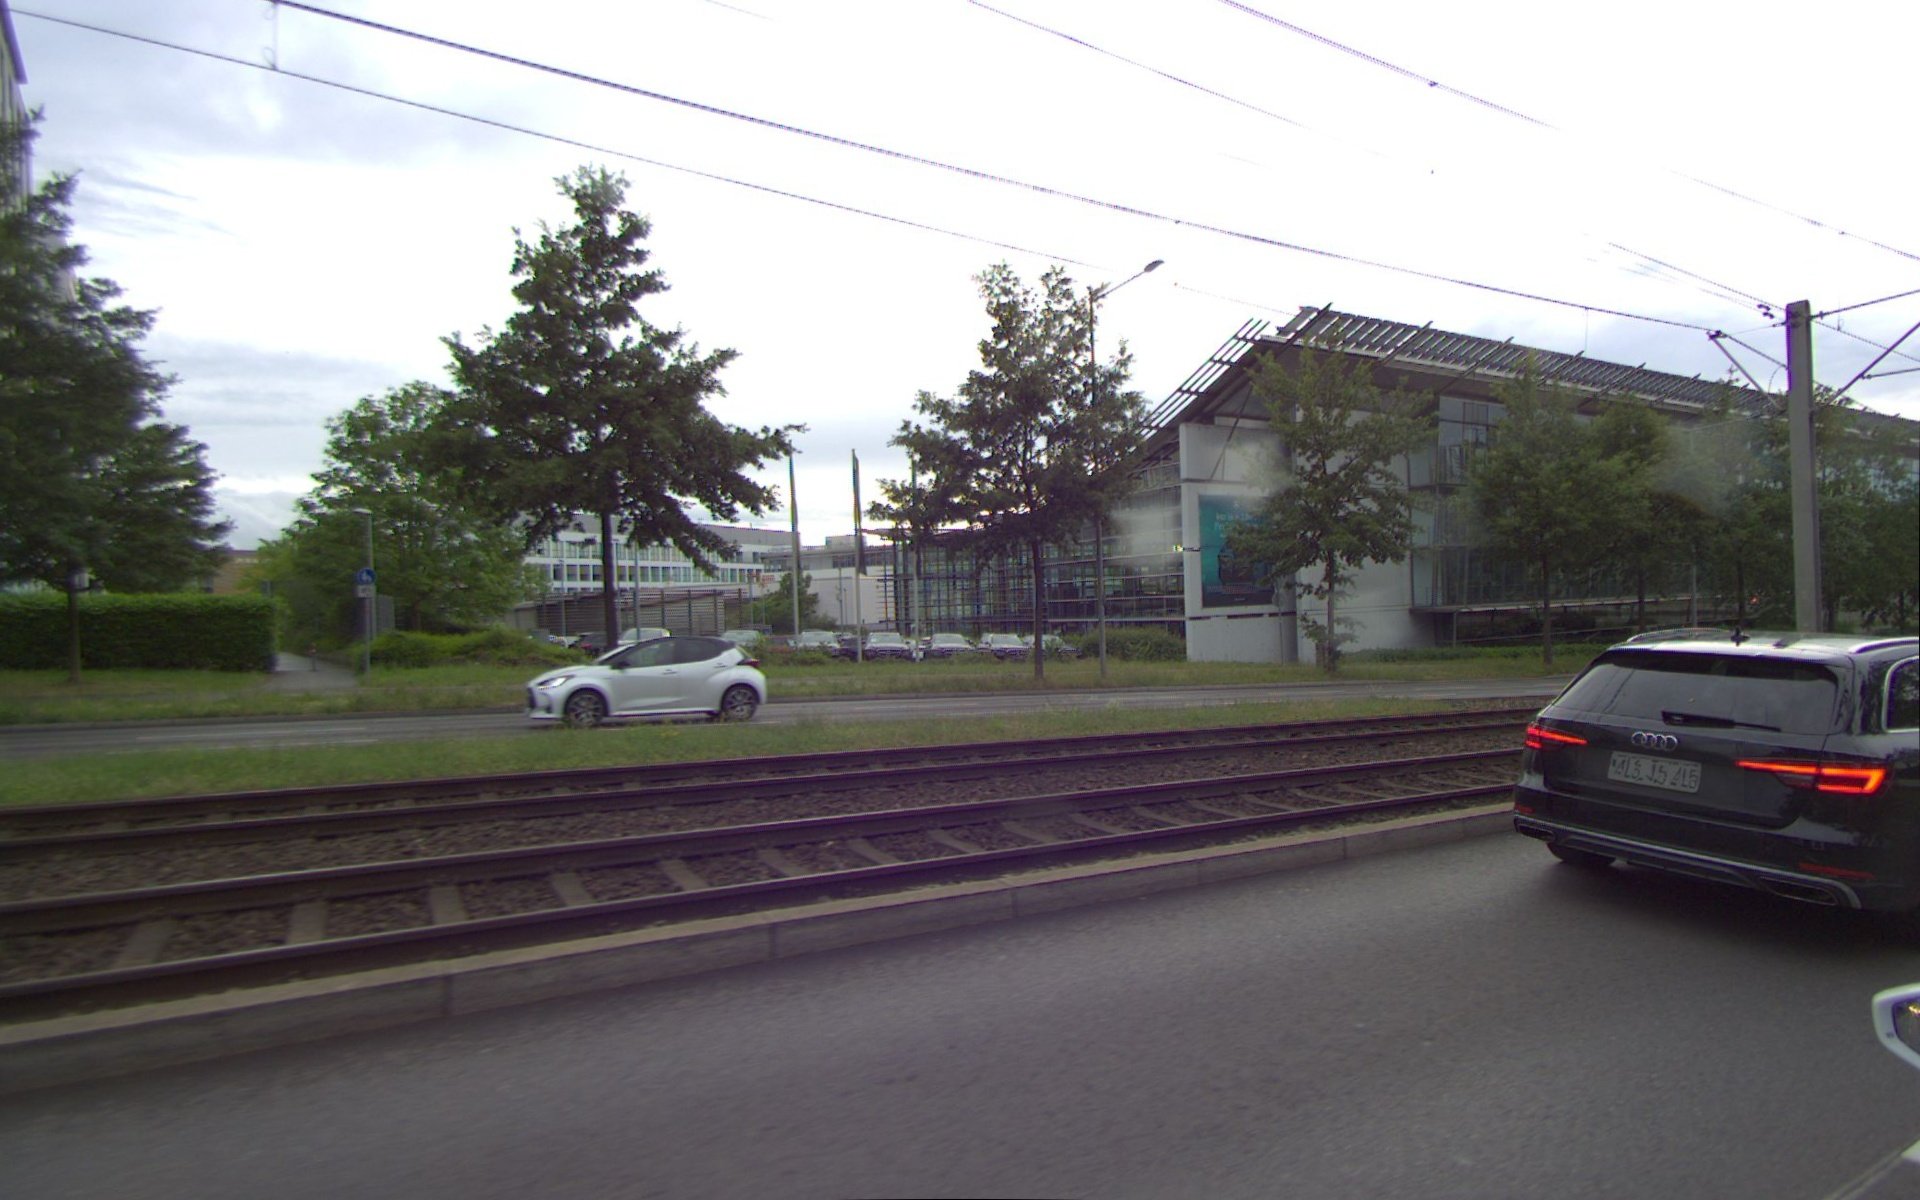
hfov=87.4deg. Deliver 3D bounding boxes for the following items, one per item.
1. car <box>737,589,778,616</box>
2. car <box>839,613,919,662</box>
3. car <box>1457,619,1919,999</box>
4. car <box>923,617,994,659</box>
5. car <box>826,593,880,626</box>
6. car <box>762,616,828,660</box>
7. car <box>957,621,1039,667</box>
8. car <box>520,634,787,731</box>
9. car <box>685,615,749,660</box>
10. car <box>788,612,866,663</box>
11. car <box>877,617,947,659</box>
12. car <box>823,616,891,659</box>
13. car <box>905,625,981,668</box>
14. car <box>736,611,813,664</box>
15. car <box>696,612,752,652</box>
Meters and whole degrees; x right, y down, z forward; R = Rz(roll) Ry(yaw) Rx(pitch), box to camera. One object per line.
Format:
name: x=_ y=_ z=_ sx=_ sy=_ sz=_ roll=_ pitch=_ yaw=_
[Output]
car: x=-14.591 y=0.195 z=72.287 sx=1.839 sy=1.861 sz=4.056 roll=1 pitch=0 yaw=-28
car: x=-3.398 y=1.500 z=41.404 sx=1.839 sy=1.861 sz=4.056 roll=1 pitch=0 yaw=-28
car: x=5.200 y=0.856 z=5.945 sx=4.773 sy=1.453 sz=1.781 roll=0 pitch=0 yaw=-31
car: x=-0.120 y=1.853 z=49.851 sx=1.839 sy=1.861 sz=4.056 roll=1 pitch=0 yaw=-28
car: x=-6.314 y=0.538 z=58.932 sx=1.839 sy=1.861 sz=4.056 roll=1 pitch=0 yaw=-28
car: x=-7.682 y=1.707 z=46.520 sx=1.839 sy=1.861 sz=4.056 roll=1 pitch=0 yaw=-28
car: x=1.616 y=1.892 z=44.241 sx=1.839 sy=1.861 sz=4.056 roll=1 pitch=0 yaw=-28
car: x=-5.239 y=1.328 z=17.282 sx=4.089 sy=1.466 sz=1.872 roll=1 pitch=-2 yaw=-30
car: x=-10.919 y=1.638 z=44.962 sx=1.839 sy=1.861 sz=4.056 roll=1 pitch=0 yaw=-28
car: x=-5.391 y=1.457 z=40.382 sx=1.839 sy=1.861 sz=4.056 roll=1 pitch=0 yaw=-28
car: x=-2.392 y=1.818 z=49.033 sx=1.839 sy=1.861 sz=4.056 roll=1 pitch=0 yaw=-28
car: x=-4.939 y=1.765 z=47.783 sx=1.839 sy=1.861 sz=4.056 roll=1 pitch=0 yaw=-28
car: x=-0.777 y=1.952 z=42.911 sx=1.617 sy=1.639 sz=4.038 roll=1 pitch=0 yaw=-27
car: x=-7.280 y=1.417 z=39.218 sx=1.839 sy=1.861 sz=4.056 roll=1 pitch=0 yaw=-28
car: x=-12.095 y=1.609 z=51.232 sx=1.839 sy=1.861 sz=4.056 roll=1 pitch=0 yaw=-28
